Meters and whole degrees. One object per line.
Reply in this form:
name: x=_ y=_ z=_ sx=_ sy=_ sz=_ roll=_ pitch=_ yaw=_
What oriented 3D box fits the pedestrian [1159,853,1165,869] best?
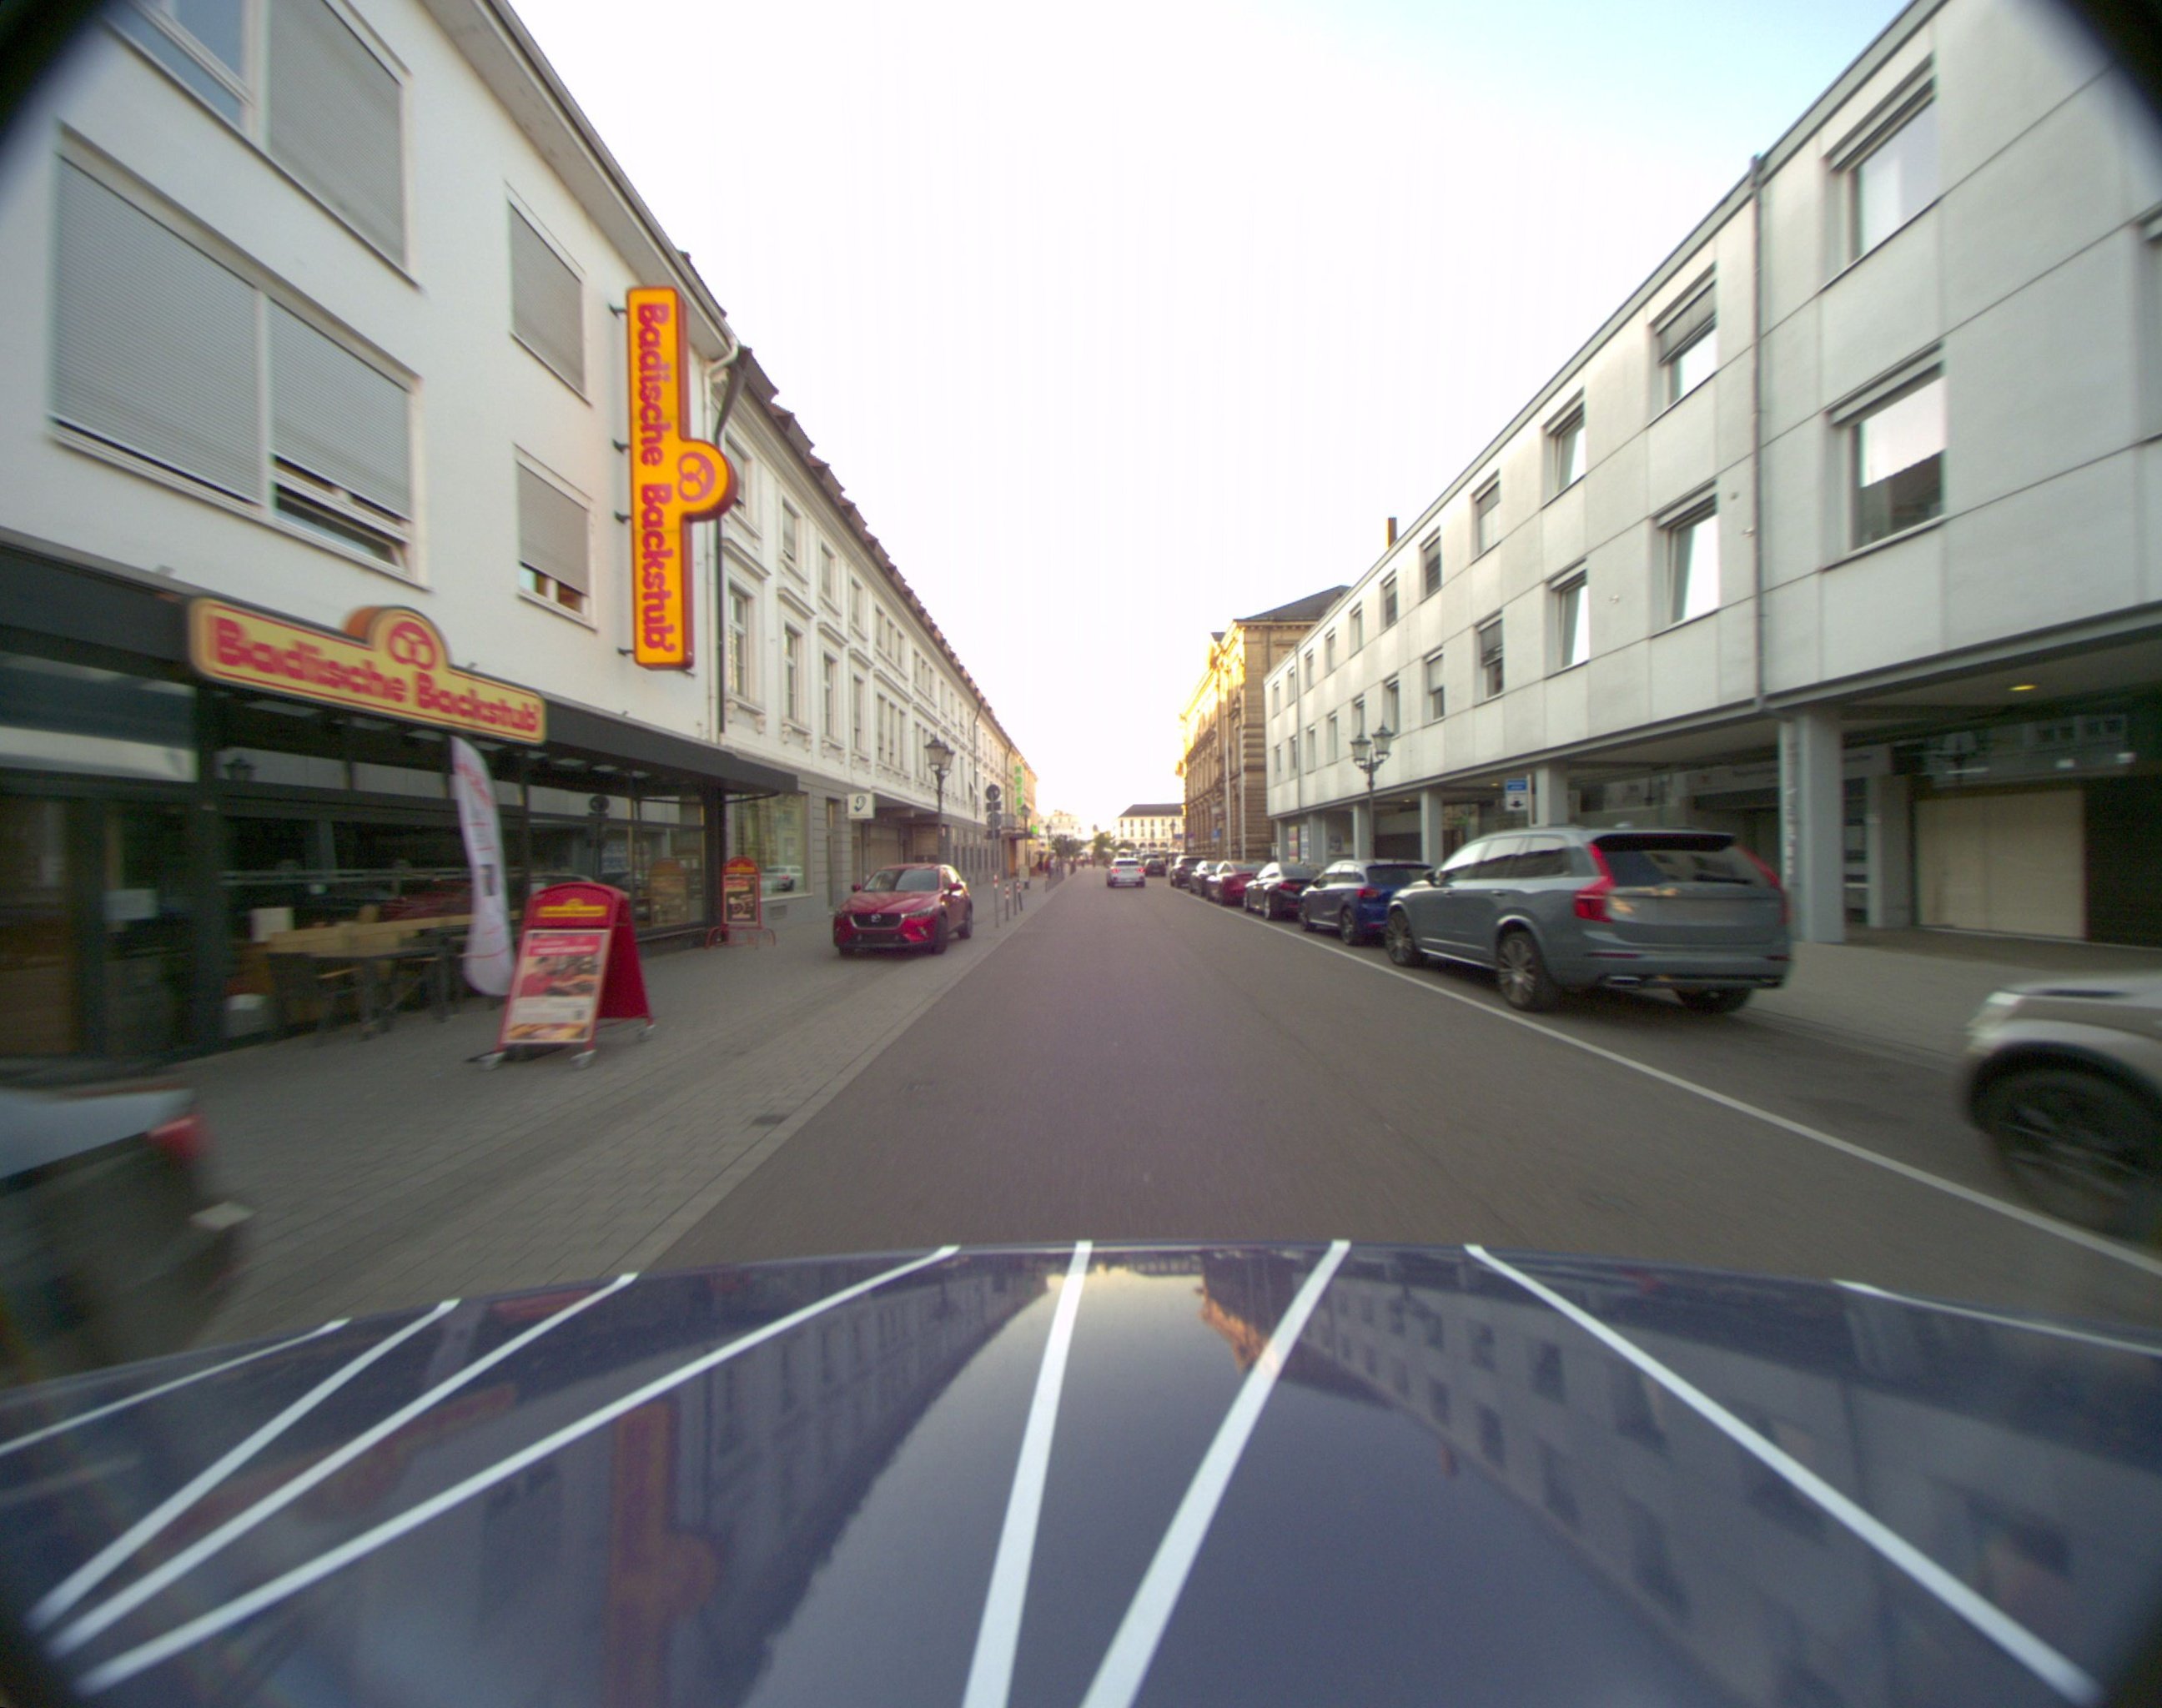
pedestrian: x=8.864 y=0.729 z=83.032 sx=0.583 sy=1.720 sz=0.831 roll=-1 pitch=0 yaw=3

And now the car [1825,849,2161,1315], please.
car: x=4.851 y=0.807 z=1.902 sx=1.999 sy=1.652 sz=3.999 roll=0 pitch=0 yaw=-2

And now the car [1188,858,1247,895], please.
car: x=5.505 y=0.869 z=31.078 sx=1.789 sy=1.400 sz=4.089 roll=-1 pitch=0 yaw=2

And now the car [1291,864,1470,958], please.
car: x=5.194 y=0.914 z=13.773 sx=1.677 sy=1.392 sz=4.000 roll=-1 pitch=0 yaw=0

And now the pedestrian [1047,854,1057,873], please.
pedestrian: x=-2.663 y=0.825 z=69.563 sx=0.749 sy=1.720 sz=0.881 roll=-1 pitch=0 yaw=7

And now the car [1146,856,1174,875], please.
car: x=6.453 y=0.911 z=62.647 sx=1.998 sy=1.486 sz=4.165 roll=-1 pitch=0 yaw=2

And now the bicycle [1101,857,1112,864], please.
bicycle: x=4.423 y=1.090 z=130.653 sx=1.683 sy=1.115 sz=0.846 roll=-1 pitch=0 yaw=35

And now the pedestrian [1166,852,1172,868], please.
pedestrian: x=9.609 y=0.638 z=83.069 sx=0.608 sy=1.720 sz=0.703 roll=-1 pitch=0 yaw=2

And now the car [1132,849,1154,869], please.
car: x=6.580 y=0.513 z=81.063 sx=1.998 sy=2.075 sz=5.207 roll=-1 pitch=0 yaw=2

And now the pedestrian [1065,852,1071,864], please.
pedestrian: x=-1.965 y=0.614 z=117.544 sx=0.607 sy=1.720 sz=0.719 roll=-1 pitch=1 yaw=44

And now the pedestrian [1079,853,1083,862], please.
pedestrian: x=0.003 y=0.569 z=122.849 sx=0.683 sy=1.557 sz=0.653 roll=-1 pitch=0 yaw=-1

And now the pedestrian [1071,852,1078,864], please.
pedestrian: x=-0.959 y=0.635 z=117.512 sx=0.667 sy=1.720 sz=0.767 roll=-1 pitch=1 yaw=44

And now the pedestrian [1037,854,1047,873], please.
pedestrian: x=-3.555 y=0.842 z=69.134 sx=0.715 sy=1.720 sz=0.873 roll=-1 pitch=0 yaw=3

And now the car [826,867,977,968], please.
car: x=-3.130 y=1.047 z=14.004 sx=1.763 sy=1.514 sz=3.677 roll=-1 pitch=0 yaw=2

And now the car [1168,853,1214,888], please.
car: x=5.437 y=0.780 z=37.889 sx=1.789 sy=1.605 sz=4.166 roll=-1 pitch=0 yaw=2

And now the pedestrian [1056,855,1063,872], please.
pedestrian: x=-2.185 y=0.955 z=76.835 sx=0.608 sy=1.720 sz=0.558 roll=-1 pitch=0 yaw=2

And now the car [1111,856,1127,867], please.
car: x=4.926 y=0.937 z=99.852 sx=1.790 sy=1.400 sz=4.088 roll=-1 pitch=0 yaw=-1

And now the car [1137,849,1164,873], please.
car: x=6.302 y=0.622 z=69.172 sx=1.998 sy=2.065 sz=4.989 roll=-1 pitch=1 yaw=1

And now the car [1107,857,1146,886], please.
car: x=2.303 y=0.884 z=39.416 sx=1.768 sy=1.414 sz=4.000 roll=0 pitch=0 yaw=0

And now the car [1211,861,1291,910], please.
car: x=5.411 y=0.952 z=24.675 sx=1.789 sy=1.400 sz=4.089 roll=-1 pitch=0 yaw=2

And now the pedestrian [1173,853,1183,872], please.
pedestrian: x=8.996 y=0.778 z=70.191 sx=0.715 sy=1.720 sz=0.896 roll=-4 pitch=0 yaw=3

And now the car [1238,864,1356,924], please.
car: x=5.424 y=0.957 z=19.656 sx=1.998 sy=1.346 sz=4.000 roll=0 pitch=0 yaw=2

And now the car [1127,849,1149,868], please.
car: x=6.599 y=0.505 z=88.002 sx=1.999 sy=2.158 sz=5.206 roll=-1 pitch=0 yaw=-1

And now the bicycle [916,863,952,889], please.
bicycle: x=-7.280 y=1.093 z=37.586 sx=1.661 sy=1.245 sz=0.439 roll=-1 pitch=0 yaw=-1

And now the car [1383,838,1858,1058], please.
car: x=5.103 y=0.734 z=8.196 sx=1.998 sy=1.718 sz=4.516 roll=0 pitch=0 yaw=2

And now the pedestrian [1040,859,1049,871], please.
pedestrian: x=-4.069 y=1.194 z=84.258 sx=0.777 sy=1.351 sz=0.723 roll=-1 pitch=0 yaw=-15

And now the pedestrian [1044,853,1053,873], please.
pedestrian: x=-2.938 y=0.809 z=68.479 sx=0.621 sy=1.779 sz=0.914 roll=-1 pitch=0 yaw=5
